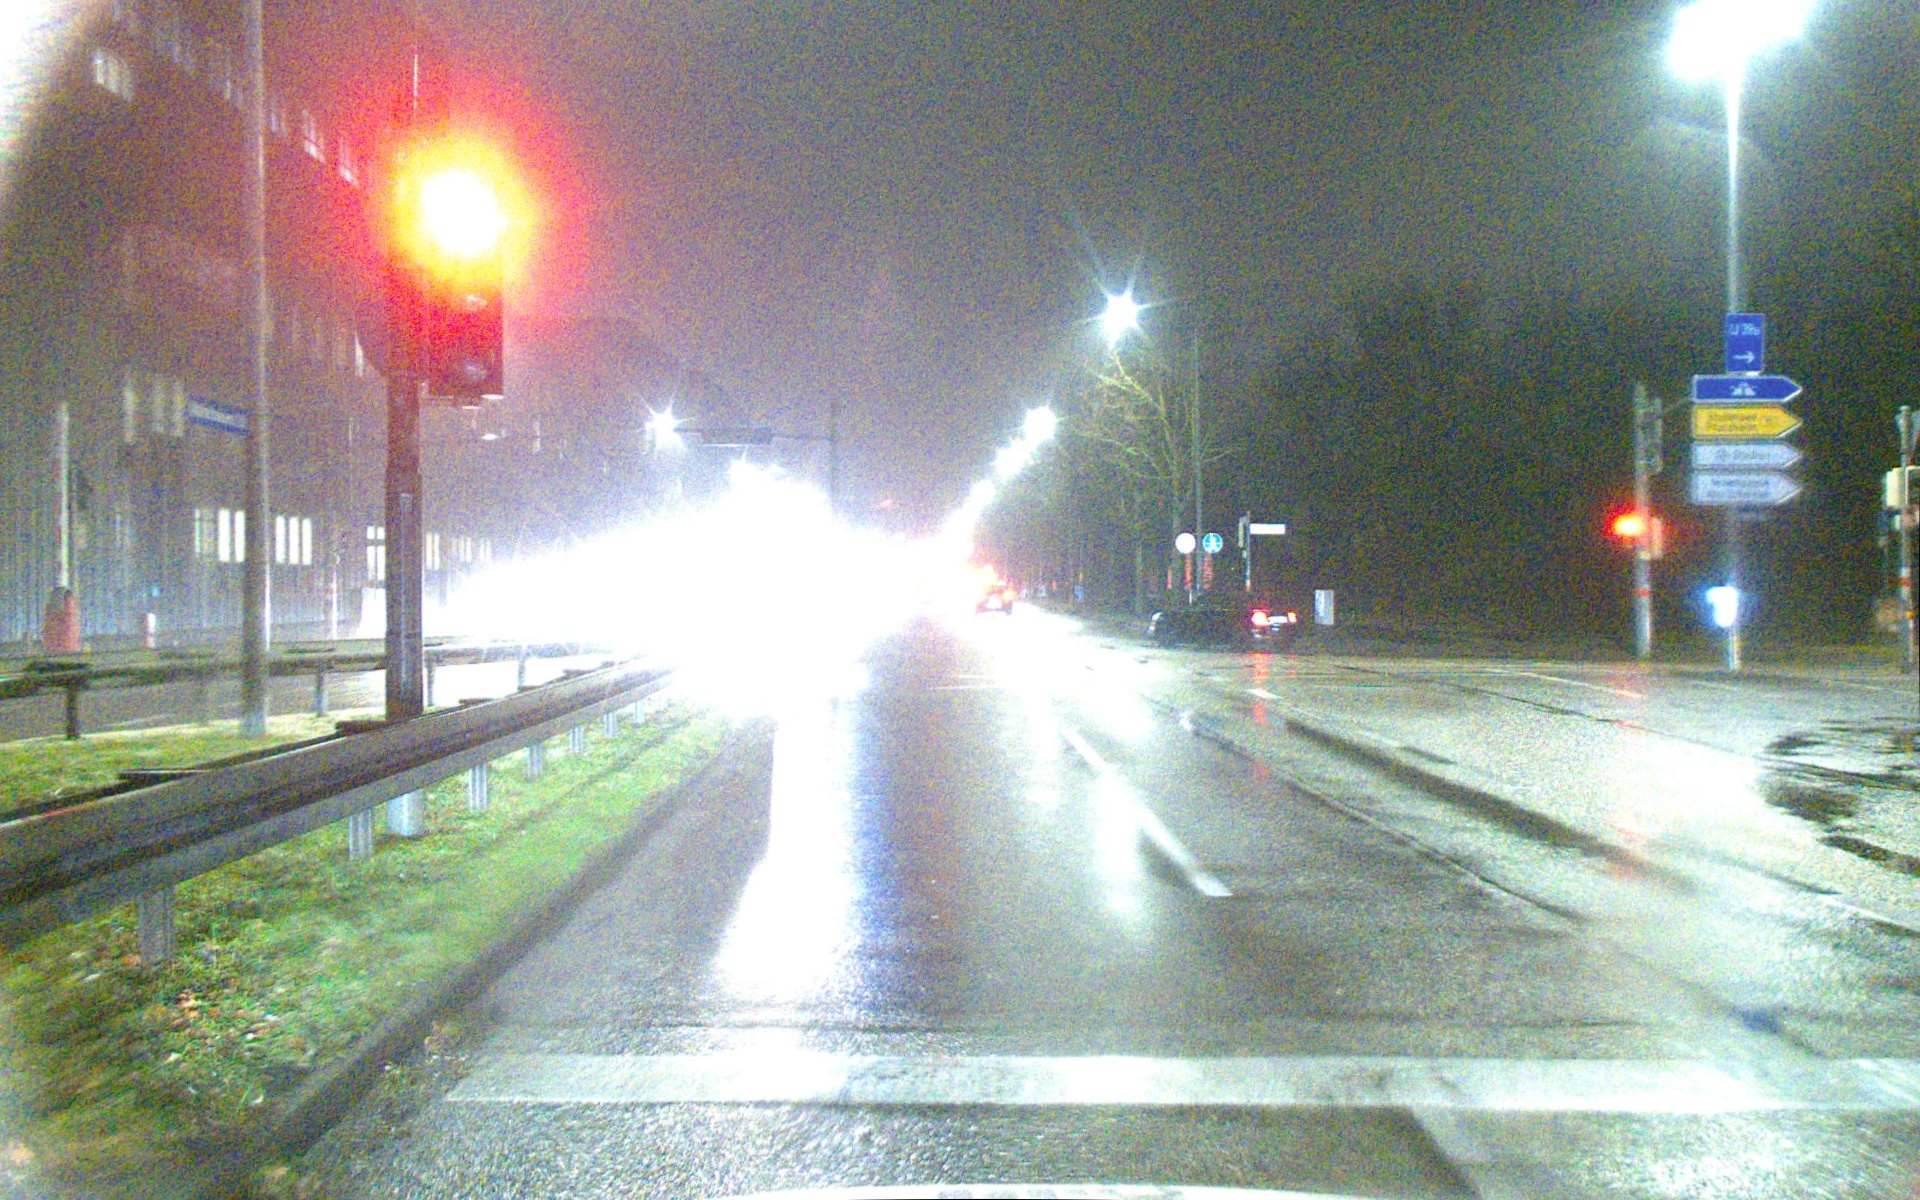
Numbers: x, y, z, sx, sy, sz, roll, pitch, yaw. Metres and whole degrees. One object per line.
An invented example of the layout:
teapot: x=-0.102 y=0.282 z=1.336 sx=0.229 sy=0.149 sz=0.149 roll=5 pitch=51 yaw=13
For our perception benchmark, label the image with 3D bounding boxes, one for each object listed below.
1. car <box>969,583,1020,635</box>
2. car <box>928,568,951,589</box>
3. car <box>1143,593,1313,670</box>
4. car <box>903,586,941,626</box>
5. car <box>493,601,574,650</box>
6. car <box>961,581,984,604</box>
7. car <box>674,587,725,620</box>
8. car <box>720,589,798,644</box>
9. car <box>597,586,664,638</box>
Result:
car: x=1.542 y=0.408 z=74.429 sx=2.163 sy=2.253 sz=3.642 roll=0 pitch=-1 yaw=-1
car: x=-2.355 y=-2.454 z=191.277 sx=2.393 sy=2.232 sz=5.075 roll=0 pitch=0 yaw=-4
car: x=6.596 y=0.754 z=40.961 sx=1.889 sy=1.811 sz=3.945 roll=1 pitch=-1 yaw=-38
car: x=-2.014 y=0.318 z=87.929 sx=1.953 sy=2.049 sz=3.999 roll=0 pitch=0 yaw=-1
car: x=-14.426 y=0.860 z=56.137 sx=1.764 sy=1.591 sz=3.999 roll=0 pitch=0 yaw=-1
car: x=1.151 y=-0.646 z=150.960 sx=1.996 sy=2.049 sz=4.307 roll=0 pitch=0 yaw=1
car: x=-12.668 y=0.188 z=80.725 sx=1.847 sy=1.579 sz=4.432 roll=0 pitch=0 yaw=-1
car: x=-6.291 y=0.515 z=52.251 sx=1.953 sy=1.638 sz=4.969 roll=0 pitch=0 yaw=-1
car: x=-11.690 y=0.436 z=58.933 sx=1.715 sy=1.738 sz=4.495 roll=-1 pitch=0 yaw=-3
